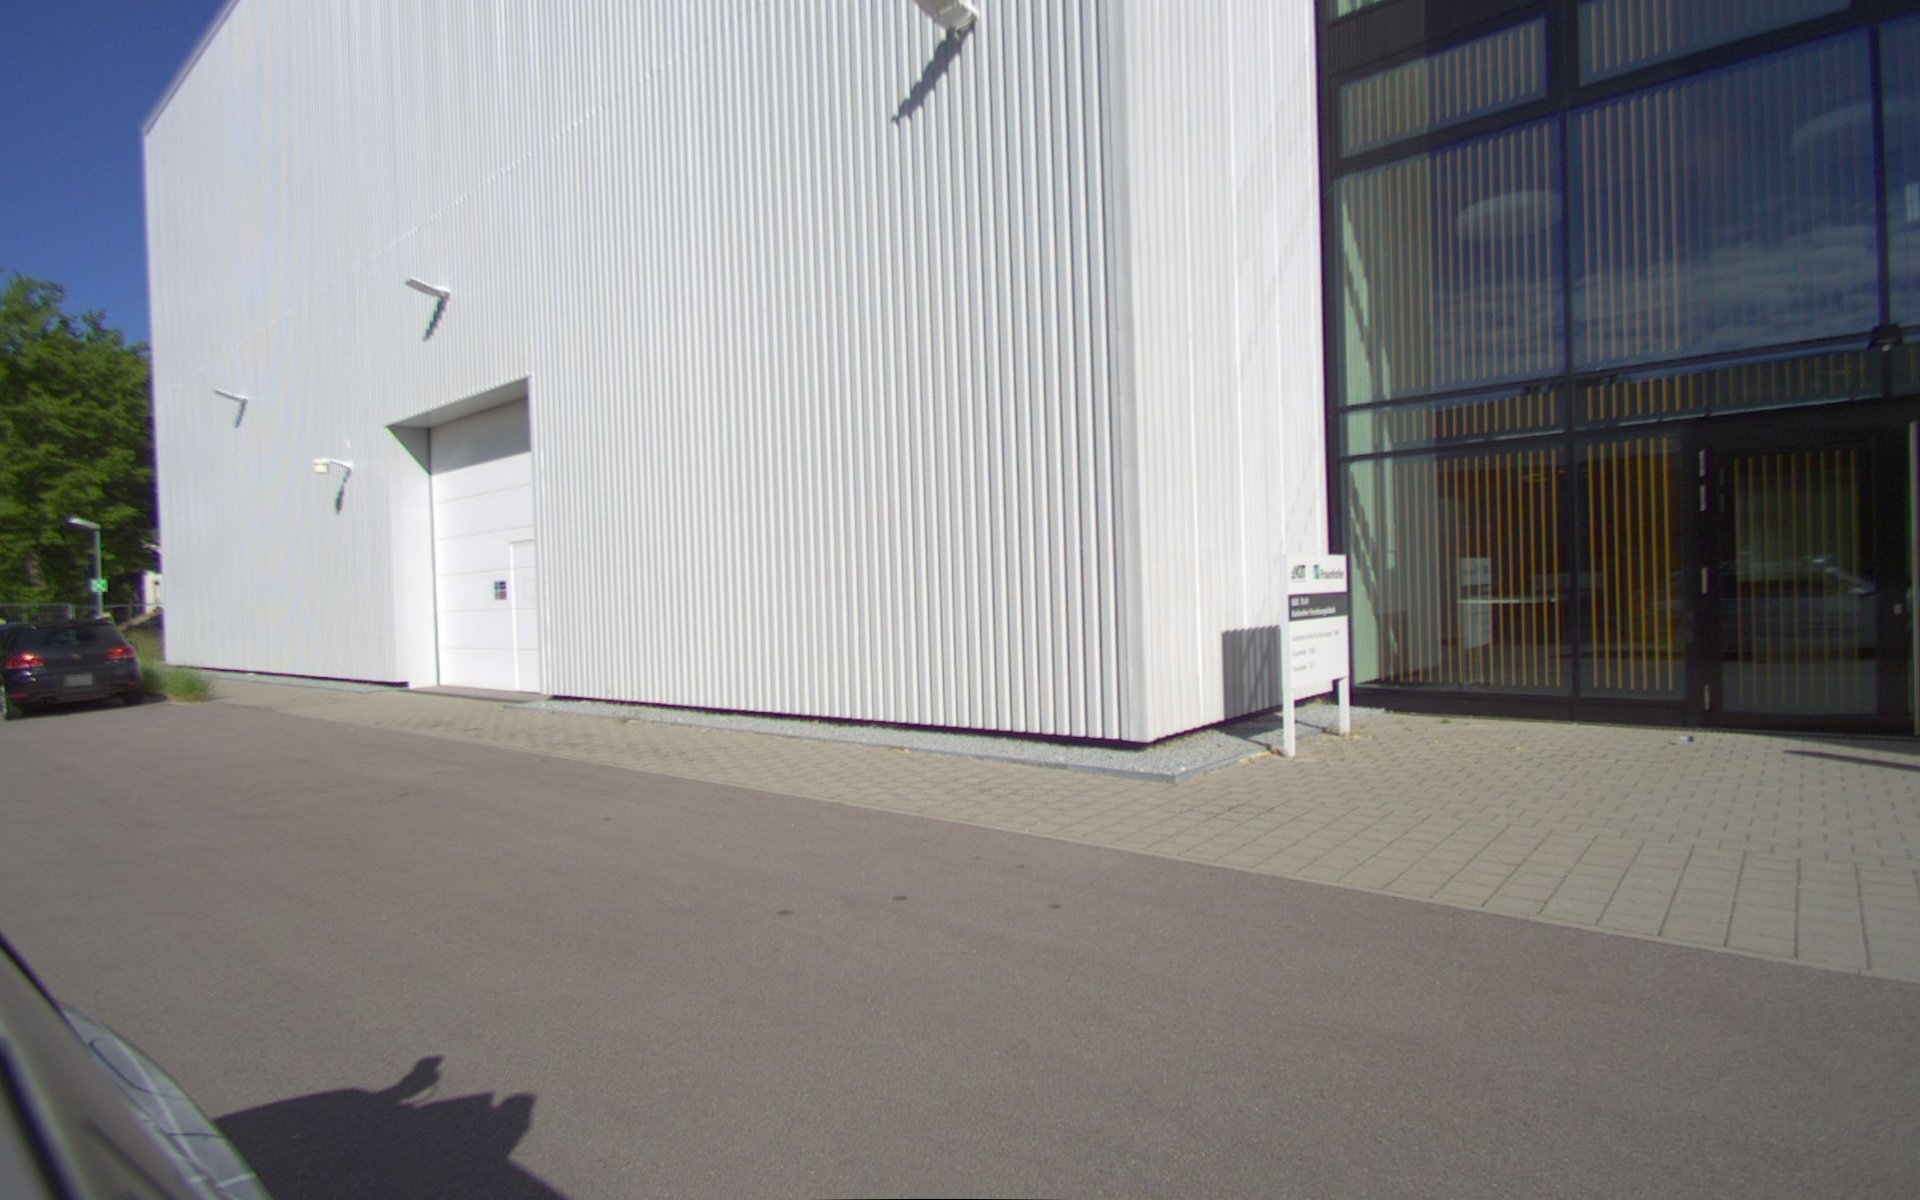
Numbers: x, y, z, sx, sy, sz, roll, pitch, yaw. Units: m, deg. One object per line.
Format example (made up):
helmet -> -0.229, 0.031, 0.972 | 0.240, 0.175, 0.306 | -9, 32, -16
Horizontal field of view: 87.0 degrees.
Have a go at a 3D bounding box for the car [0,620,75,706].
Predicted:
car -> -18.738, 1.226, 19.795 | 3.518, 1.499, 1.533 | -3, 1, 39

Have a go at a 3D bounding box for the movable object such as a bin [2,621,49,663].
movable object such as a bin -> -33.976, 1.531, 36.784 | 1.279, 1.489, 1.126 | -3, -3, 41

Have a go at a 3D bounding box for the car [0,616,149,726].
car -> -15.074, 1.110, 16.788 | 4.312, 1.456, 1.738 | -2, 2, 41

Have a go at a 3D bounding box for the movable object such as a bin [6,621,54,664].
movable object such as a bin -> -32.959, 1.494, 35.877 | 1.288, 1.445, 1.126 | -2, -2, 41

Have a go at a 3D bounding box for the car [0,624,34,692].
car -> -22.928, 1.383, 23.367 | 3.794, 1.459, 1.695 | -3, 1, 39
